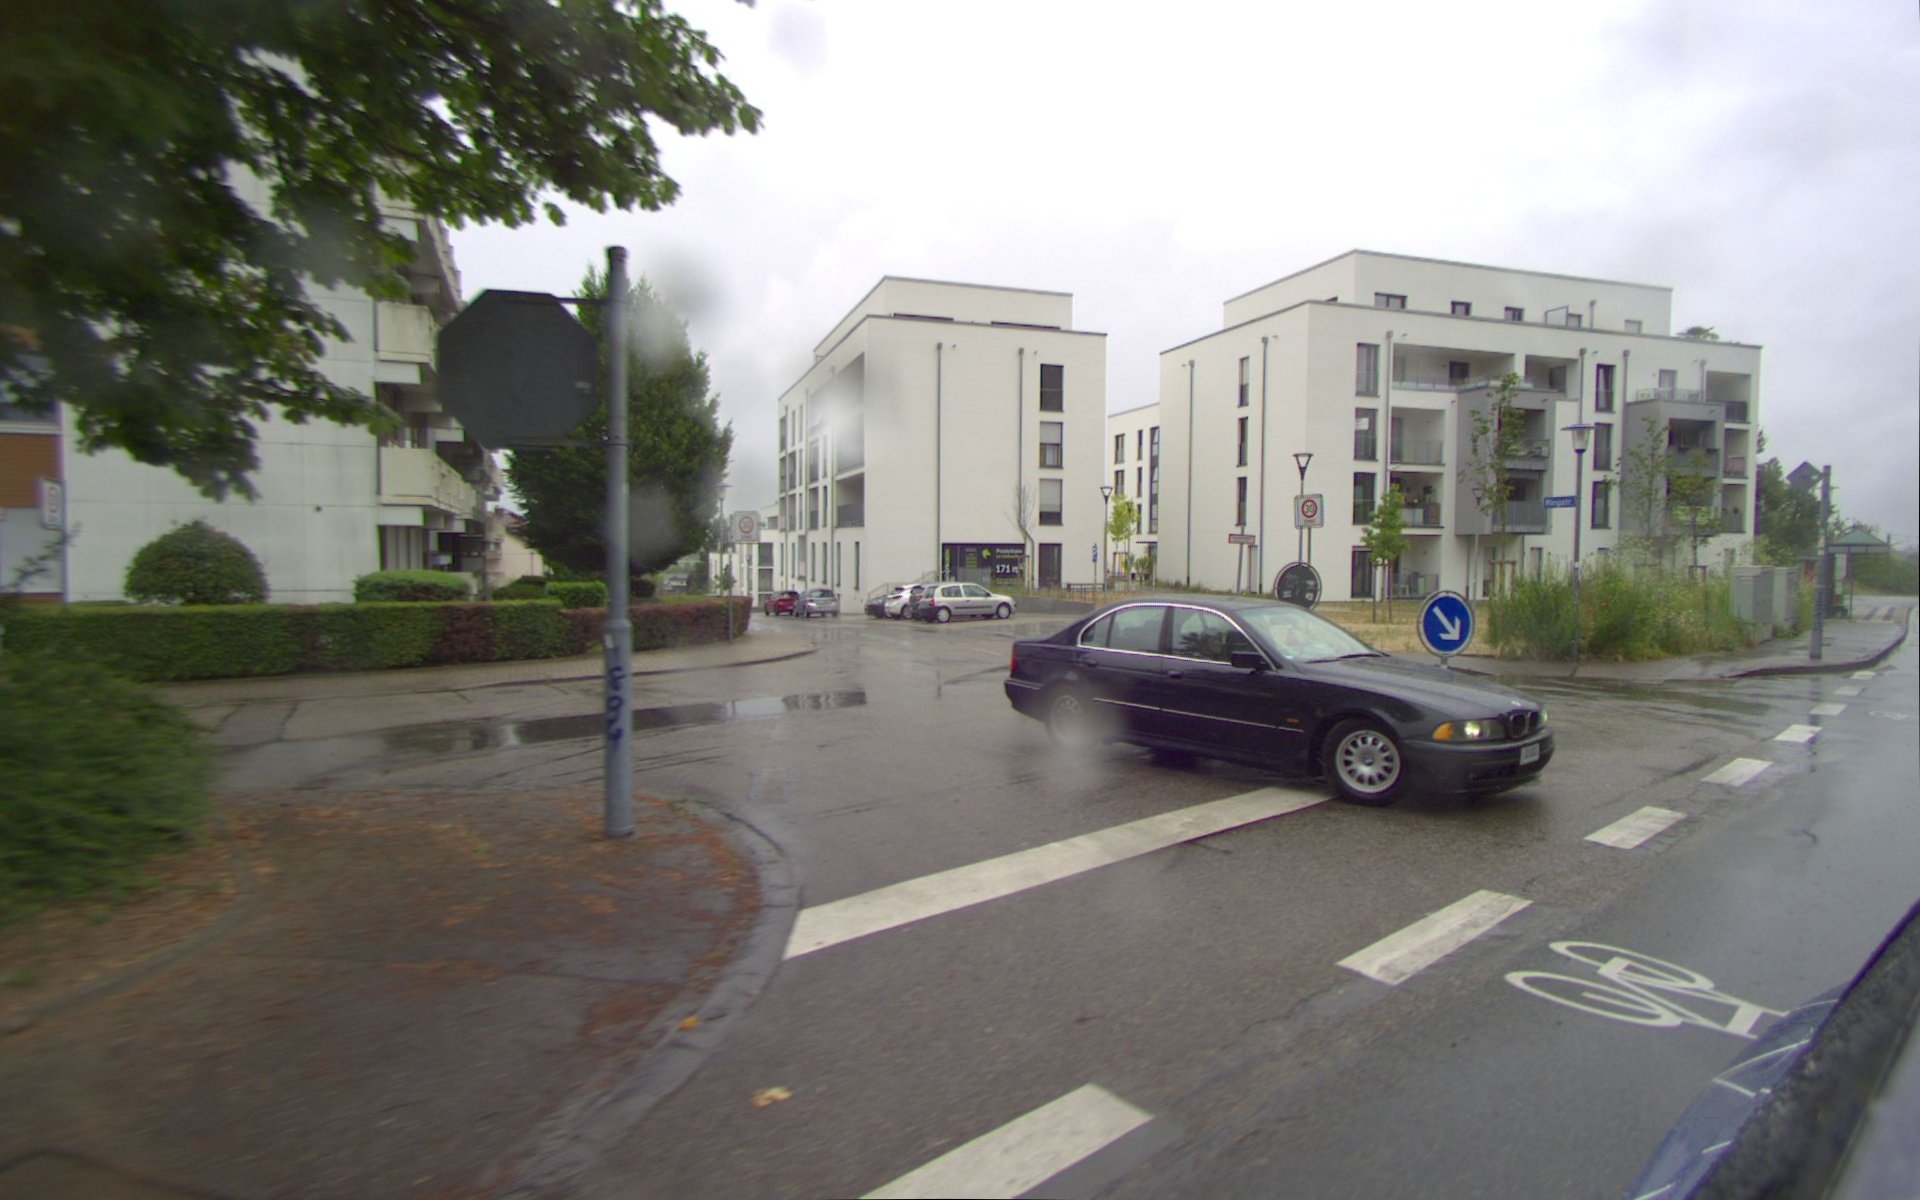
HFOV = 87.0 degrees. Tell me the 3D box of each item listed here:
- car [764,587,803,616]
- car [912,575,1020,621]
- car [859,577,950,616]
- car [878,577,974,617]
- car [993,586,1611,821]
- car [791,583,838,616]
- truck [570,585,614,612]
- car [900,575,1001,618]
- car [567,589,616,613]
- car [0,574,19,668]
[{"bbox_3d":[-10.348,0.085,59.281,1.610,1.515,3.573,-2,3,-20],"label":"car"},{"bbox_3d":[0.232,-0.105,38.024,3.630,1.458,1.725,-4,3,-23],"label":"car"},{"bbox_3d":[-2.472,-0.177,45.176,3.630,1.458,1.725,-4,3,-23],"label":"car"},{"bbox_3d":[-1.429,-0.156,42.851,3.630,1.458,1.725,-4,3,-23],"label":"car"},{"bbox_3d":[2.498,0.598,8.466,1.912,1.405,4.610,-1,1,-39],"label":"car"},{"bbox_3d":[-7.502,-0.069,52.037,1.610,1.515,3.573,-2,3,-20],"label":"car"},{"bbox_3d":[-42.556,-0.197,117.166,4.737,3.070,2.005,1,1,-17],"label":"truck"},{"bbox_3d":[-0.394,-0.185,40.622,3.630,1.458,1.725,-4,3,-23],"label":"car"},{"bbox_3d":[-40.777,0.123,112.119,5.056,2.474,2.005,1,1,-17],"label":"car"},{"bbox_3d":[-15.541,0.372,14.546,1.824,1.479,4.008,0,2,-25],"label":"car"}]
